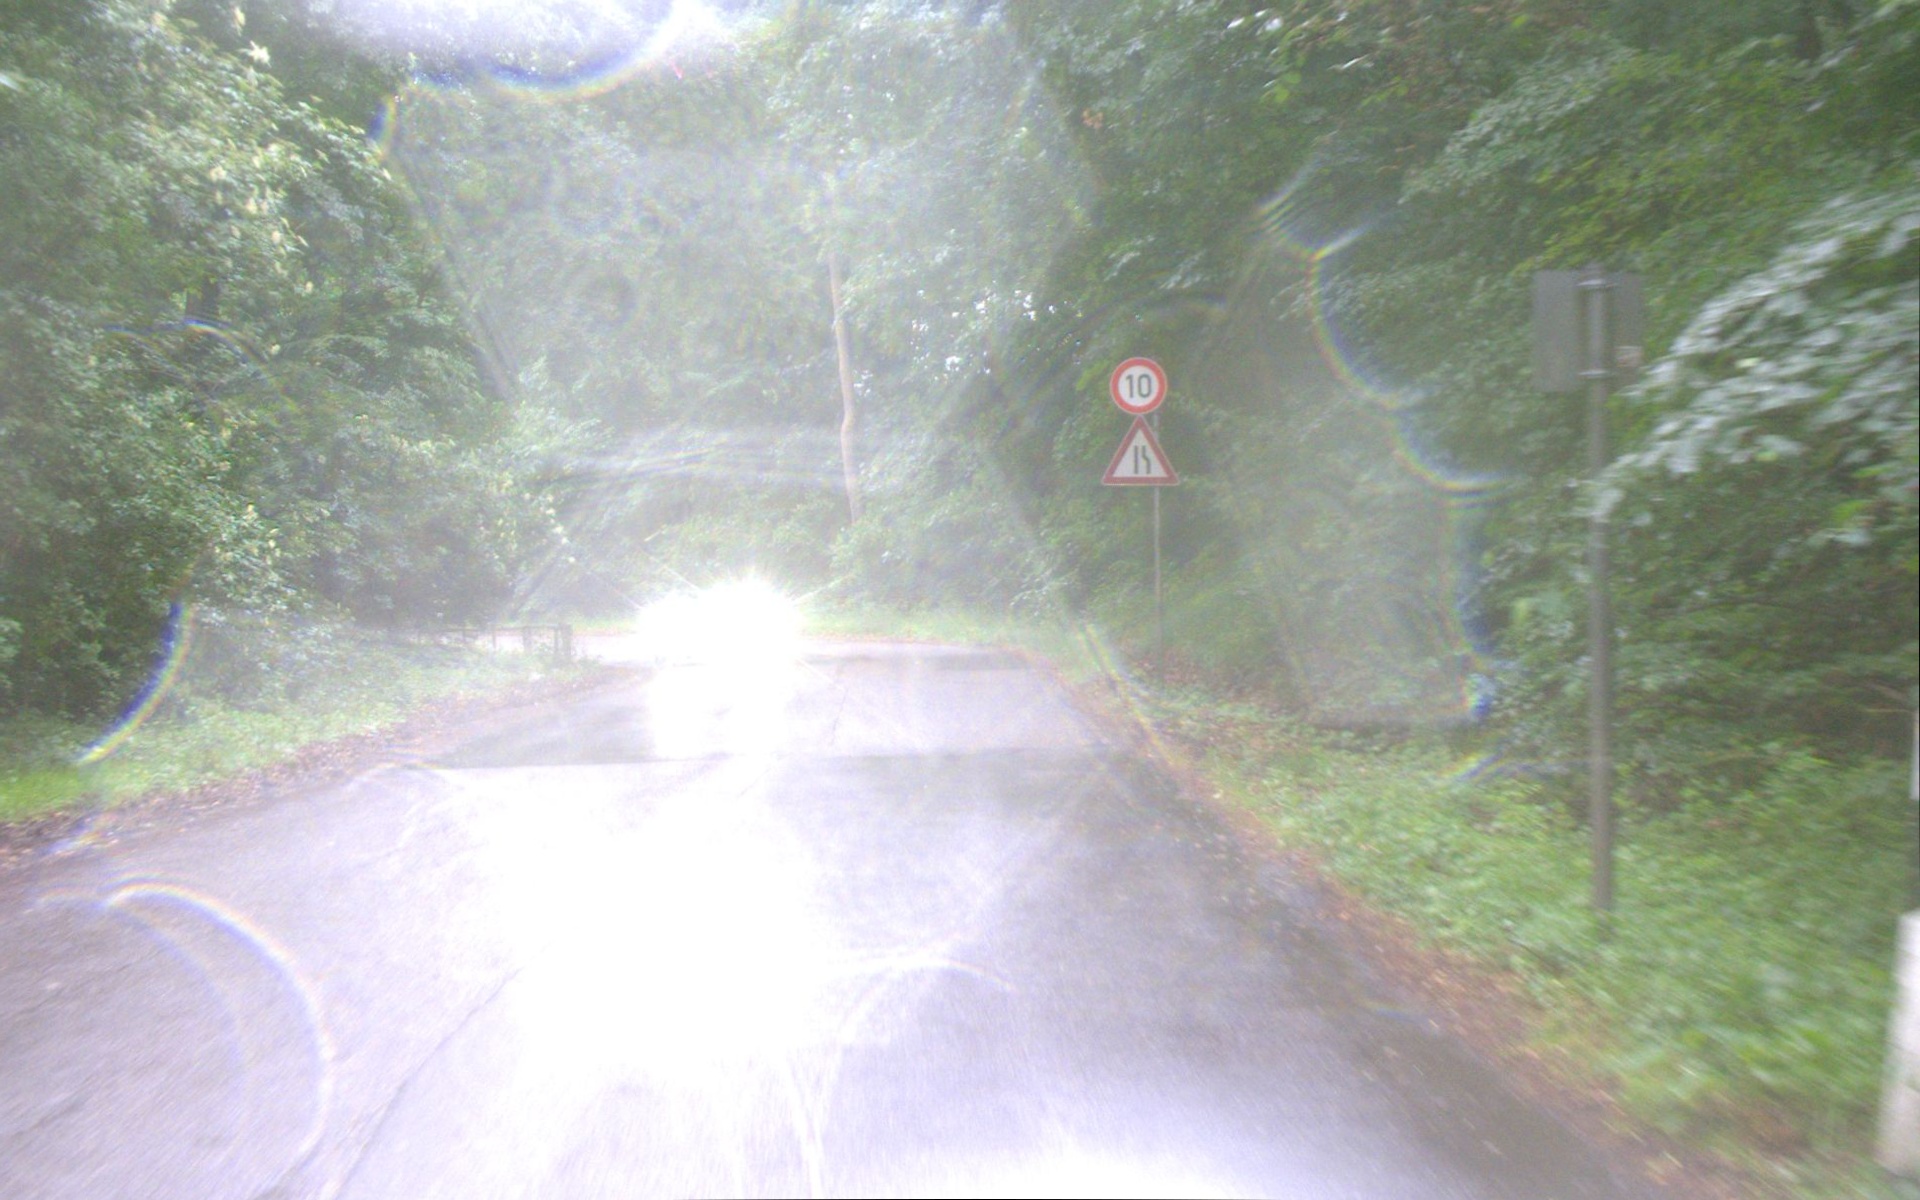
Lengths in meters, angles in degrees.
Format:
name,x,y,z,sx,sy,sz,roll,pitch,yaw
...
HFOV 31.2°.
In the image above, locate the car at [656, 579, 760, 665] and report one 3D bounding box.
name,x,y,z,sx,sy,sz,roll,pitch,yaw
car,-4.680,0.379,64.138,1.714,1.470,3.891,-3,0,-2
